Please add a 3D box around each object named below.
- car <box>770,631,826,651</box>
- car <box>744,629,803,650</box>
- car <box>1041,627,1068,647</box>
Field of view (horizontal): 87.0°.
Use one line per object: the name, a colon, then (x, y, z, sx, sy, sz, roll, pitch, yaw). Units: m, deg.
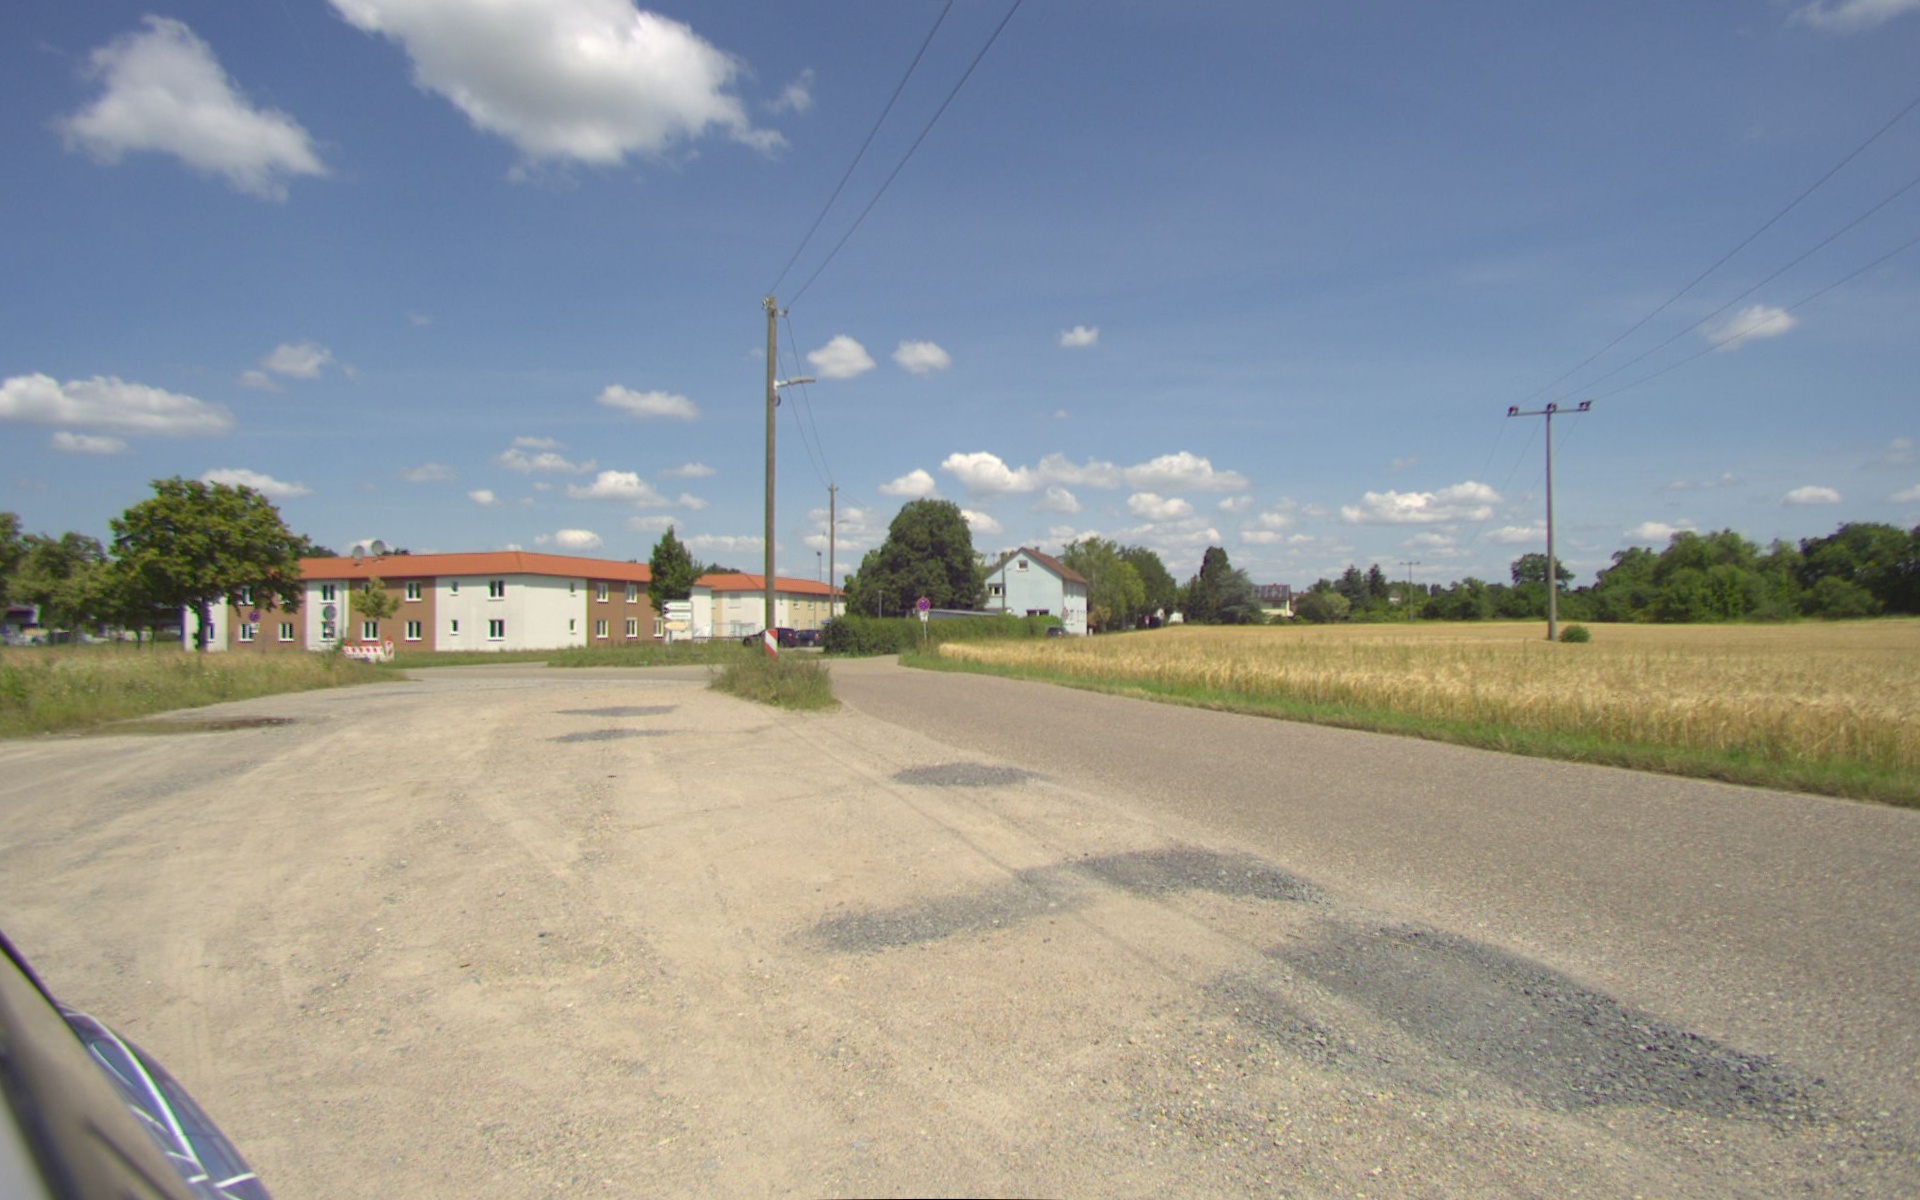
car: (-13.340, 3.364, 83.281, 4.110, 1.627, 1.990, -1, -2, 15)
car: (-14.648, 3.133, 79.590, 4.110, 1.627, 1.990, -1, -2, 15)
car: (8.726, 3.376, 93.095, 1.734, 1.692, 4.233, -2, -1, 16)
